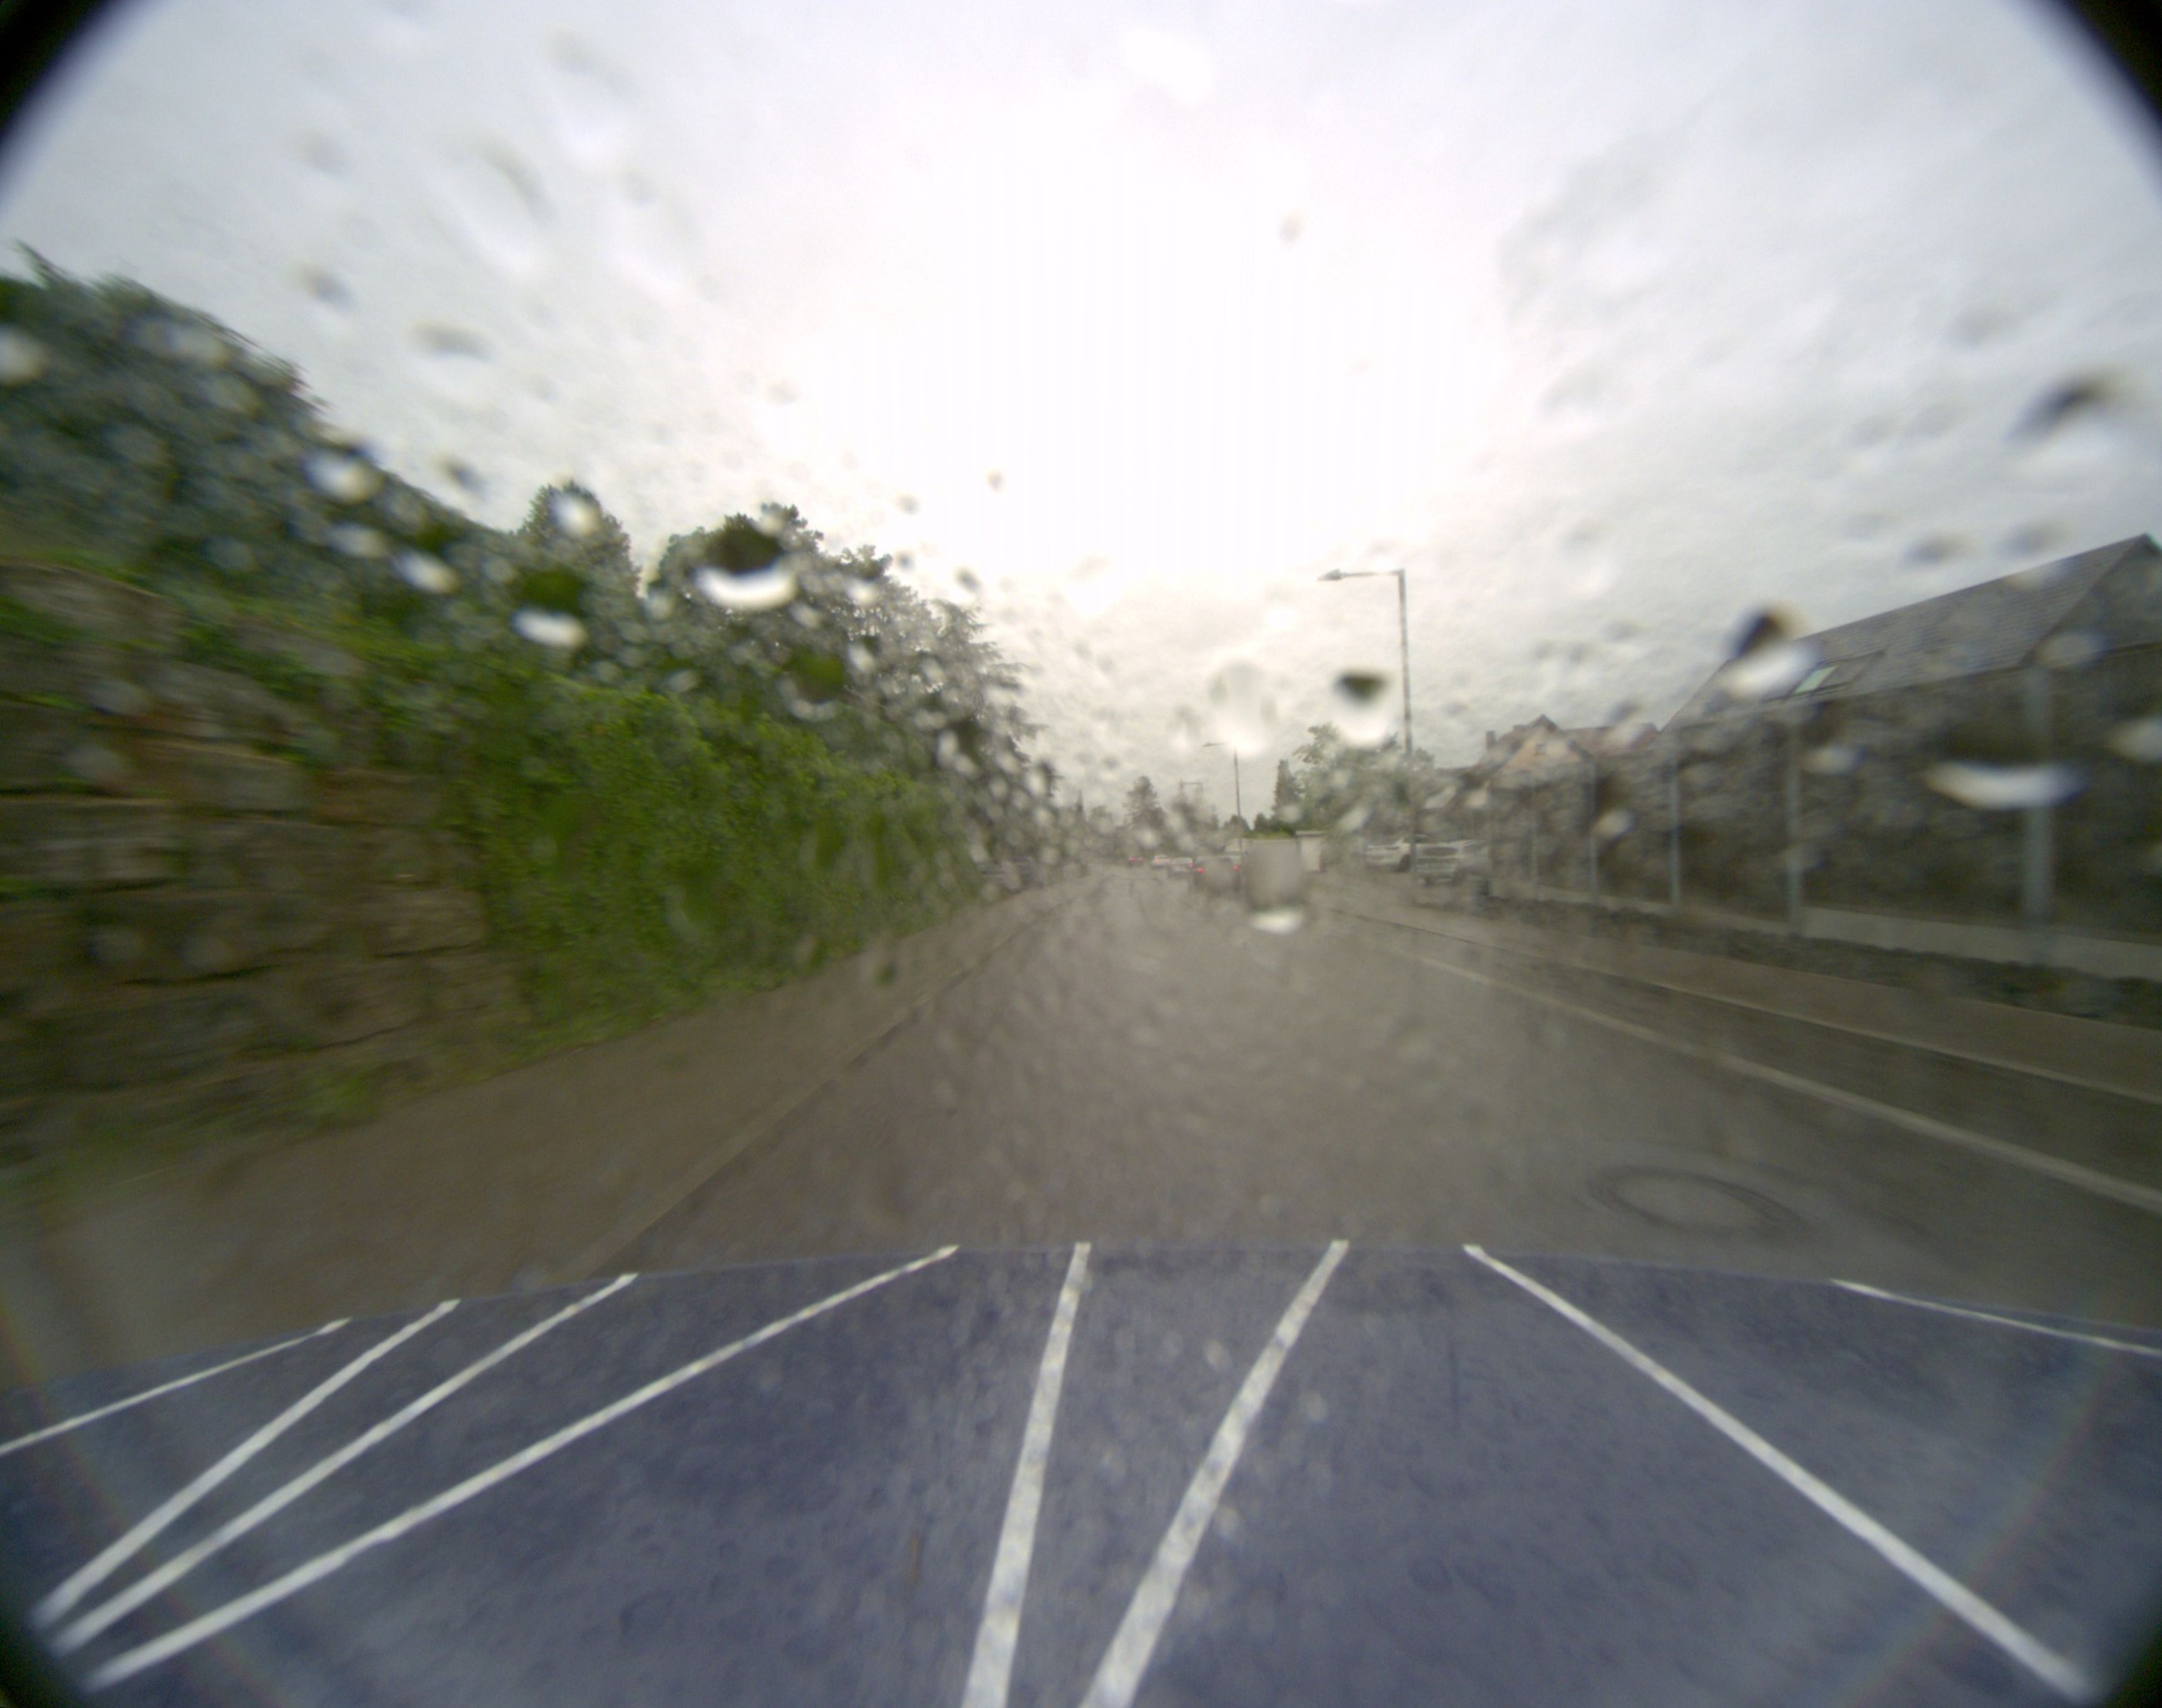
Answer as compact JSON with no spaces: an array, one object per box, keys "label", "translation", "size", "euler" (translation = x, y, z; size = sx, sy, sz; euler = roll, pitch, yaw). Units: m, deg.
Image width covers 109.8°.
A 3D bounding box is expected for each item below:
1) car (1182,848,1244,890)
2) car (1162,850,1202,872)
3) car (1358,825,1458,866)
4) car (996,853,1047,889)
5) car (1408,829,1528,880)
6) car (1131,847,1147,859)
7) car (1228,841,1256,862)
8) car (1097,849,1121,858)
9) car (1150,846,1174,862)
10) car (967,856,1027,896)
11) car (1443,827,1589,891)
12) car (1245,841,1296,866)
[{"label":"car","translation":[5.039,0.527,29.526],"size":[1.885,1.441,4.209],"euler":[-3,0,4]},{"label":"car","translation":[6.307,0.412,48.022],"size":[1.886,1.276,4.208],"euler":[-3,0,0]},{"label":"car","translation":[14.757,-0.387,34.272],"size":[4.063,1.565,1.938],"euler":[-4,1,-28]},{"label":"car","translation":[-2.955,0.827,38.837],"size":[1.998,1.660,4.544],"euler":[0,1,3]},{"label":"car","translation":[13.714,-0.001,26.815],"size":[4.540,1.434,1.757],"euler":[-5,1,-34]},{"label":"car","translation":[7.518,-0.155,98.427],"size":[1.855,1.461,3.700],"euler":[-4,0,5]},{"label":"car","translation":[13.459,-0.269,63.426],"size":[1.707,1.544,4.394],"euler":[-4,0,19]},{"label":"car","translation":[5.121,-0.072,140.290],"size":[4.000,1.264,1.872],"euler":[-4,1,-11]},{"label":"car","translation":[8.343,0.007,78.279],"size":[1.852,1.452,4.267],"euler":[-4,0,-1]},{"label":"car","translation":[-3.527,0.879,32.644],"size":[1.814,1.554,4.011],"euler":[0,1,5]},{"label":"car","translation":[13.173,0.139,22.961],"size":[4.299,1.591,1.834],"euler":[-4,1,-30]},{"label":"car","translation":[12.073,-0.029,48.605],"size":[1.839,1.397,4.258],"euler":[-4,0,-5]}]
